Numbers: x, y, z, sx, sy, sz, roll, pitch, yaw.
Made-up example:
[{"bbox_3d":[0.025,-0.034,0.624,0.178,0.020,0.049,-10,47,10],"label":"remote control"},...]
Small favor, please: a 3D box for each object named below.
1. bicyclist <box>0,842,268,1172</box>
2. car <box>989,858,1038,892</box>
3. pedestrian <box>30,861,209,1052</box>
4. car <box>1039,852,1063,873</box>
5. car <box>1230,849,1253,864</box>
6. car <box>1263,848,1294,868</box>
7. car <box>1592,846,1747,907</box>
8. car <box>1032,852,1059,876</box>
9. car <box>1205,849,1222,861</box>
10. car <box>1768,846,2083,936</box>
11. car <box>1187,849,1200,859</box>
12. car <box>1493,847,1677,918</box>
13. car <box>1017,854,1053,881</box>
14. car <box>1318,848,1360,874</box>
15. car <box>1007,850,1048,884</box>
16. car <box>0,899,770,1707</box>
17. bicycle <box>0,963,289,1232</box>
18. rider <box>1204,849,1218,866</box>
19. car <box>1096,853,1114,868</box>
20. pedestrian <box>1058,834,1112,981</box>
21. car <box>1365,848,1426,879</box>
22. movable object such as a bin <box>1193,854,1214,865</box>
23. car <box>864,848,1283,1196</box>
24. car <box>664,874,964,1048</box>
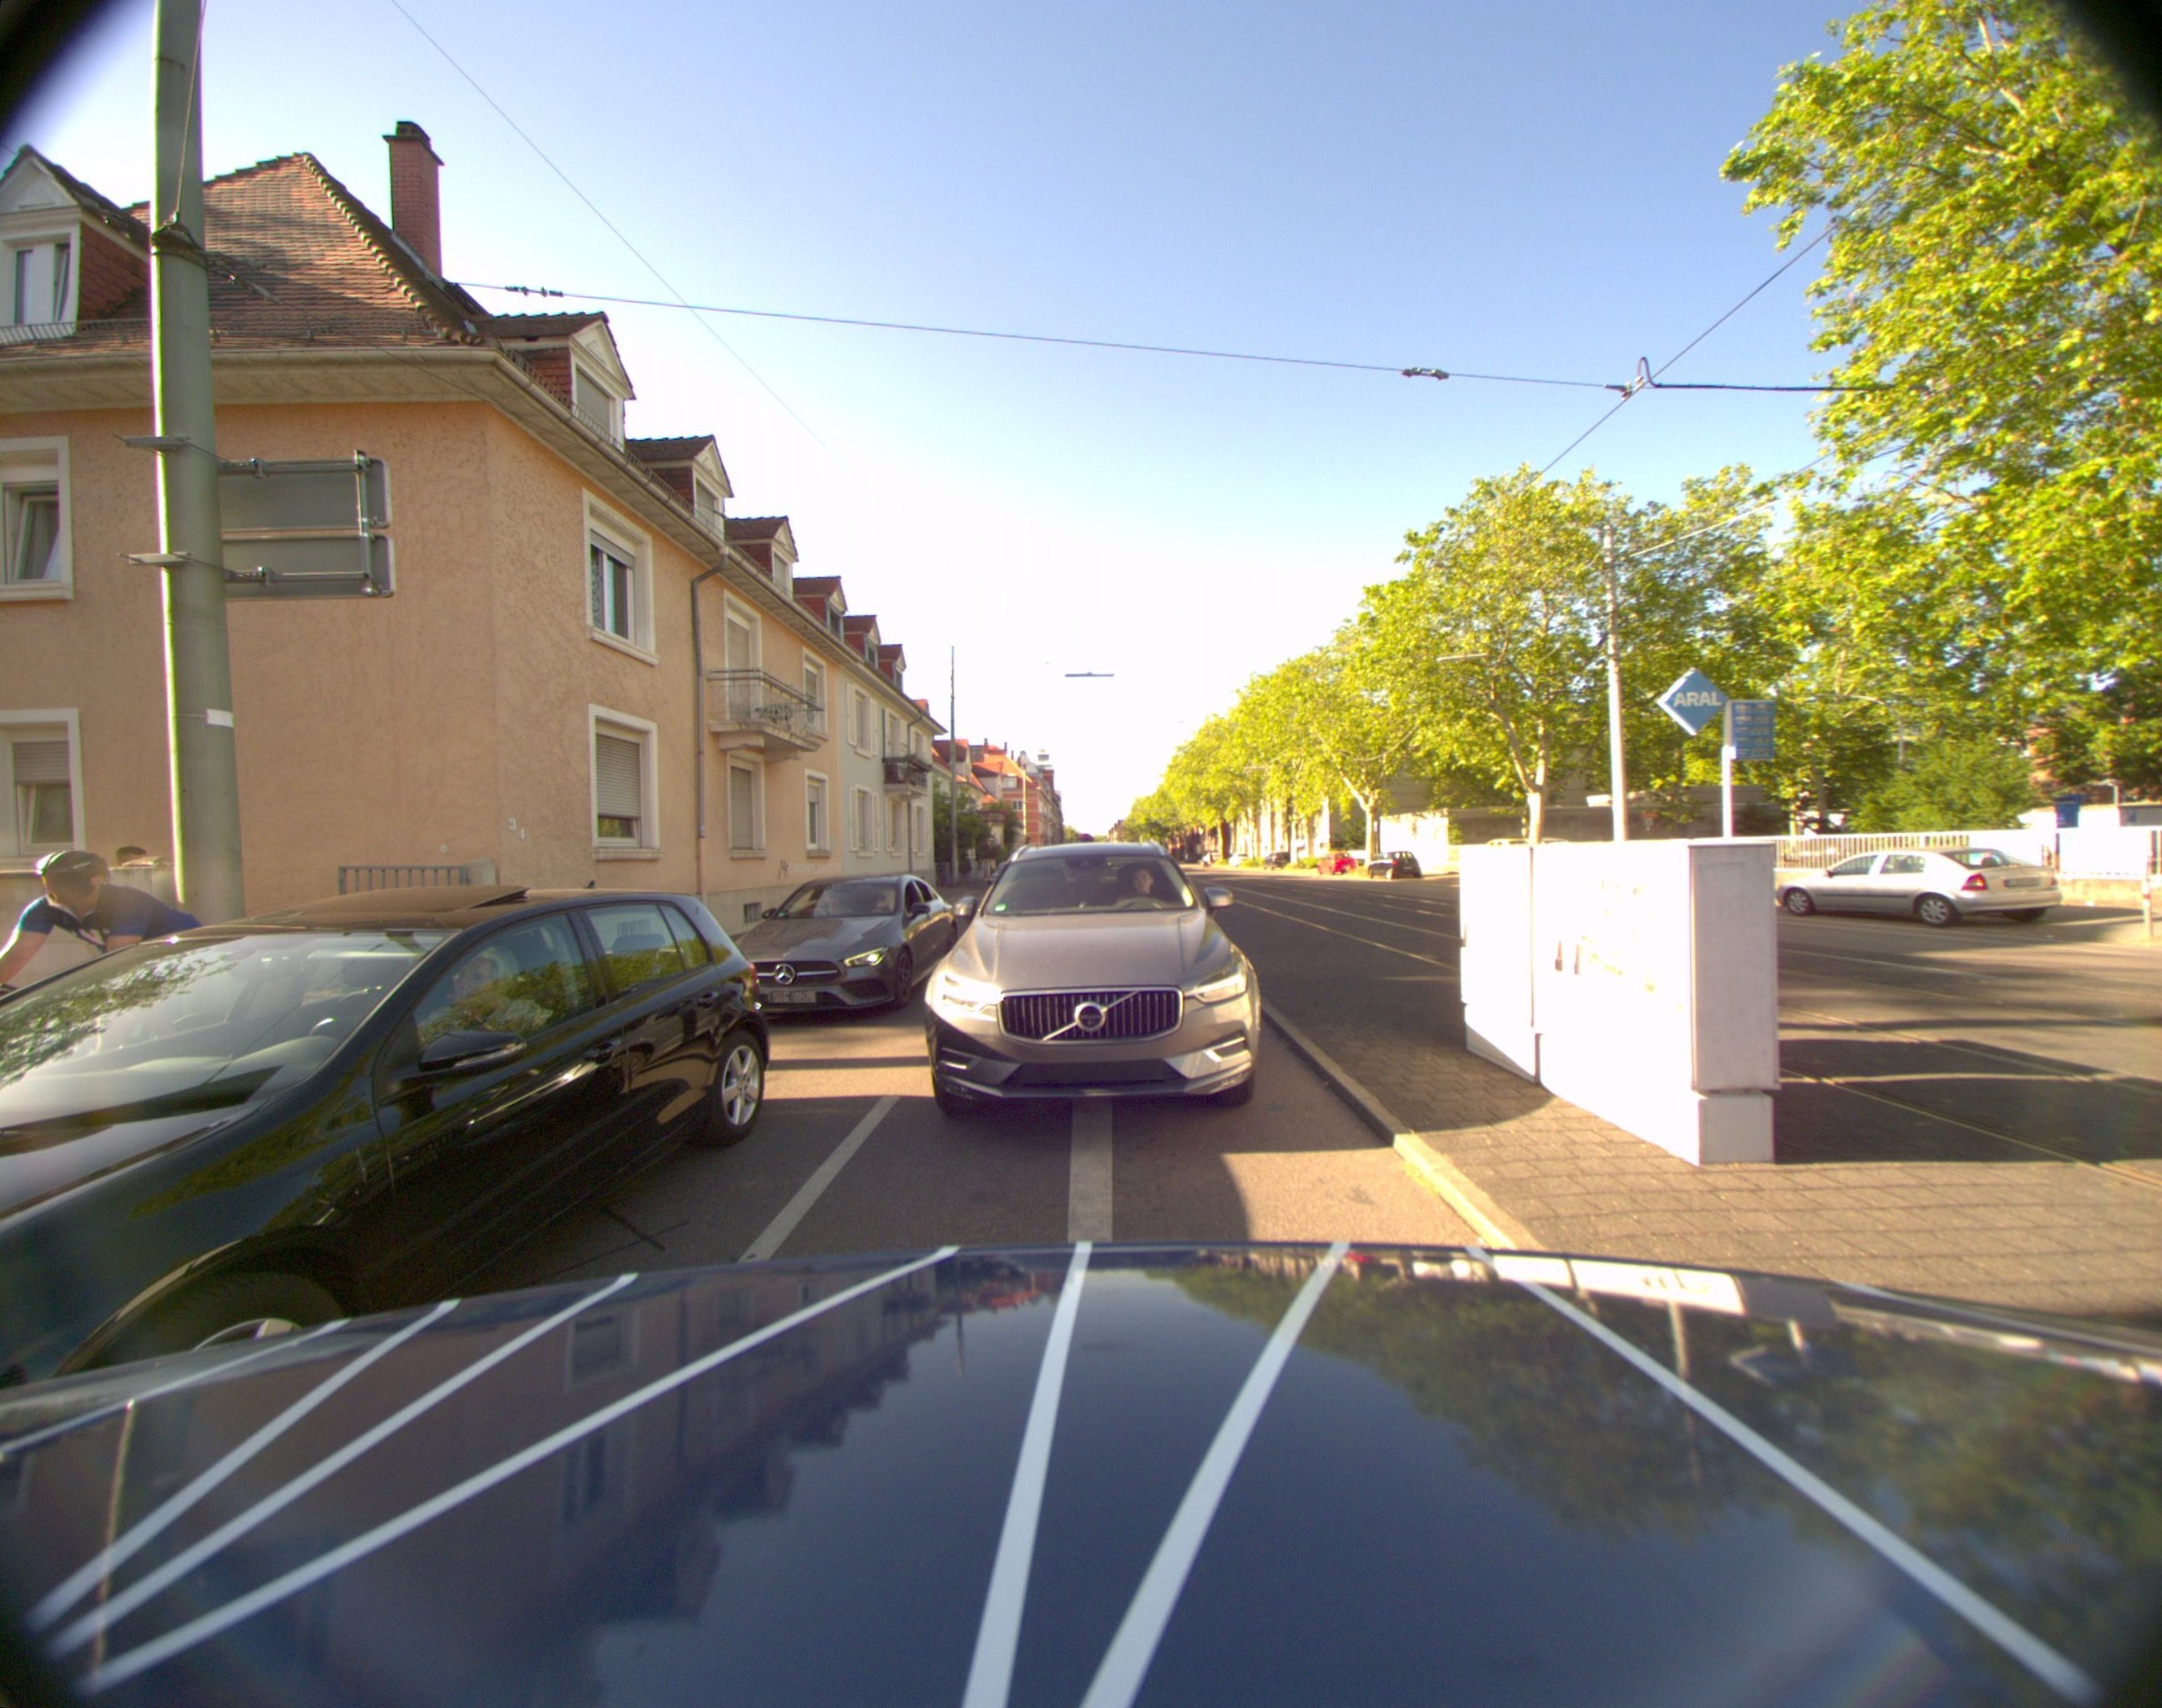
[{"bbox_3d":[-5.508,0.795,4.264,1.021,1.684,0.729,2,0,-7],"label":"bicyclist"},{"bbox_3d":[-3.237,0.961,37.132,1.825,1.422,4.334,-2,1,1],"label":"car"},{"bbox_3d":[-8.645,0.893,6.863,0.760,1.596,0.611,4,1,-2],"label":"pedestrian"},{"bbox_3d":[-2.602,0.693,67.272,1.825,1.701,4.334,-2,1,1],"label":"car"},{"bbox_3d":[17.613,0.246,83.460,1.754,1.532,3.878,-4,1,3],"label":"car"},{"bbox_3d":[17.114,0.323,65.981,1.754,1.582,3.878,-4,1,3],"label":"car"},{"bbox_3d":[16.446,0.561,21.470,1.619,1.436,3.606,-4,1,3],"label":"car"},{"bbox_3d":[-2.789,0.771,60.906,1.825,1.701,4.334,-2,1,1],"label":"car"},{"bbox_3d":[17.567,0.101,100.674,1.661,1.452,3.730,-4,1,3],"label":"car"},{"bbox_3d":[16.193,0.630,14.945,1.687,1.358,3.989,-6,0,1],"label":"car"},{"bbox_3d":[18.547,0.058,125.550,1.661,1.452,3.730,-4,1,3],"label":"car"},{"bbox_3d":[11.628,0.585,17.894,1.742,1.427,3.935,2,1,1],"label":"car"},{"bbox_3d":[-2.796,0.796,47.065,1.825,1.424,4.334,-2,1,1],"label":"car"},{"bbox_3d":[16.947,0.434,50.047,1.661,1.486,3.377,-4,1,3],"label":"car"},{"bbox_3d":[-2.914,0.687,42.387,1.825,1.701,4.334,-2,1,1],"label":"car"},{"bbox_3d":[-2.807,1.042,2.635,1.717,1.430,3.990,-2,1,1],"label":"car"},{"bbox_3d":[-5.532,1.274,4.271,0.556,1.069,1.624,2,0,-7],"label":"bicycle"},{"bbox_3d":[12.865,0.309,75.249,0.727,1.639,1.104,-3,1,-27],"label":"rider"},{"bbox_3d":[2.761,0.734,87.915,1.851,1.640,3.999,-2,1,1],"label":"car"},{"bbox_3d":[0.053,0.674,9.909,0.609,1.832,0.599,-2,1,1],"label":"pedestrian"},{"bbox_3d":[16.830,0.447,40.823,1.723,1.436,3.769,-4,1,3],"label":"car"},{"bbox_3d":[12.315,0.550,76.455,1.180,1.097,1.831,-3,1,-27],"label":"movable object such as a bin"},{"bbox_3d":[0.115,0.797,5.771,1.924,1.579,4.387,-2,1,4],"label":"car"},{"bbox_3d":[-2.723,1.013,8.987,1.825,1.422,4.491,-2,-1,1],"label":"car"}]
